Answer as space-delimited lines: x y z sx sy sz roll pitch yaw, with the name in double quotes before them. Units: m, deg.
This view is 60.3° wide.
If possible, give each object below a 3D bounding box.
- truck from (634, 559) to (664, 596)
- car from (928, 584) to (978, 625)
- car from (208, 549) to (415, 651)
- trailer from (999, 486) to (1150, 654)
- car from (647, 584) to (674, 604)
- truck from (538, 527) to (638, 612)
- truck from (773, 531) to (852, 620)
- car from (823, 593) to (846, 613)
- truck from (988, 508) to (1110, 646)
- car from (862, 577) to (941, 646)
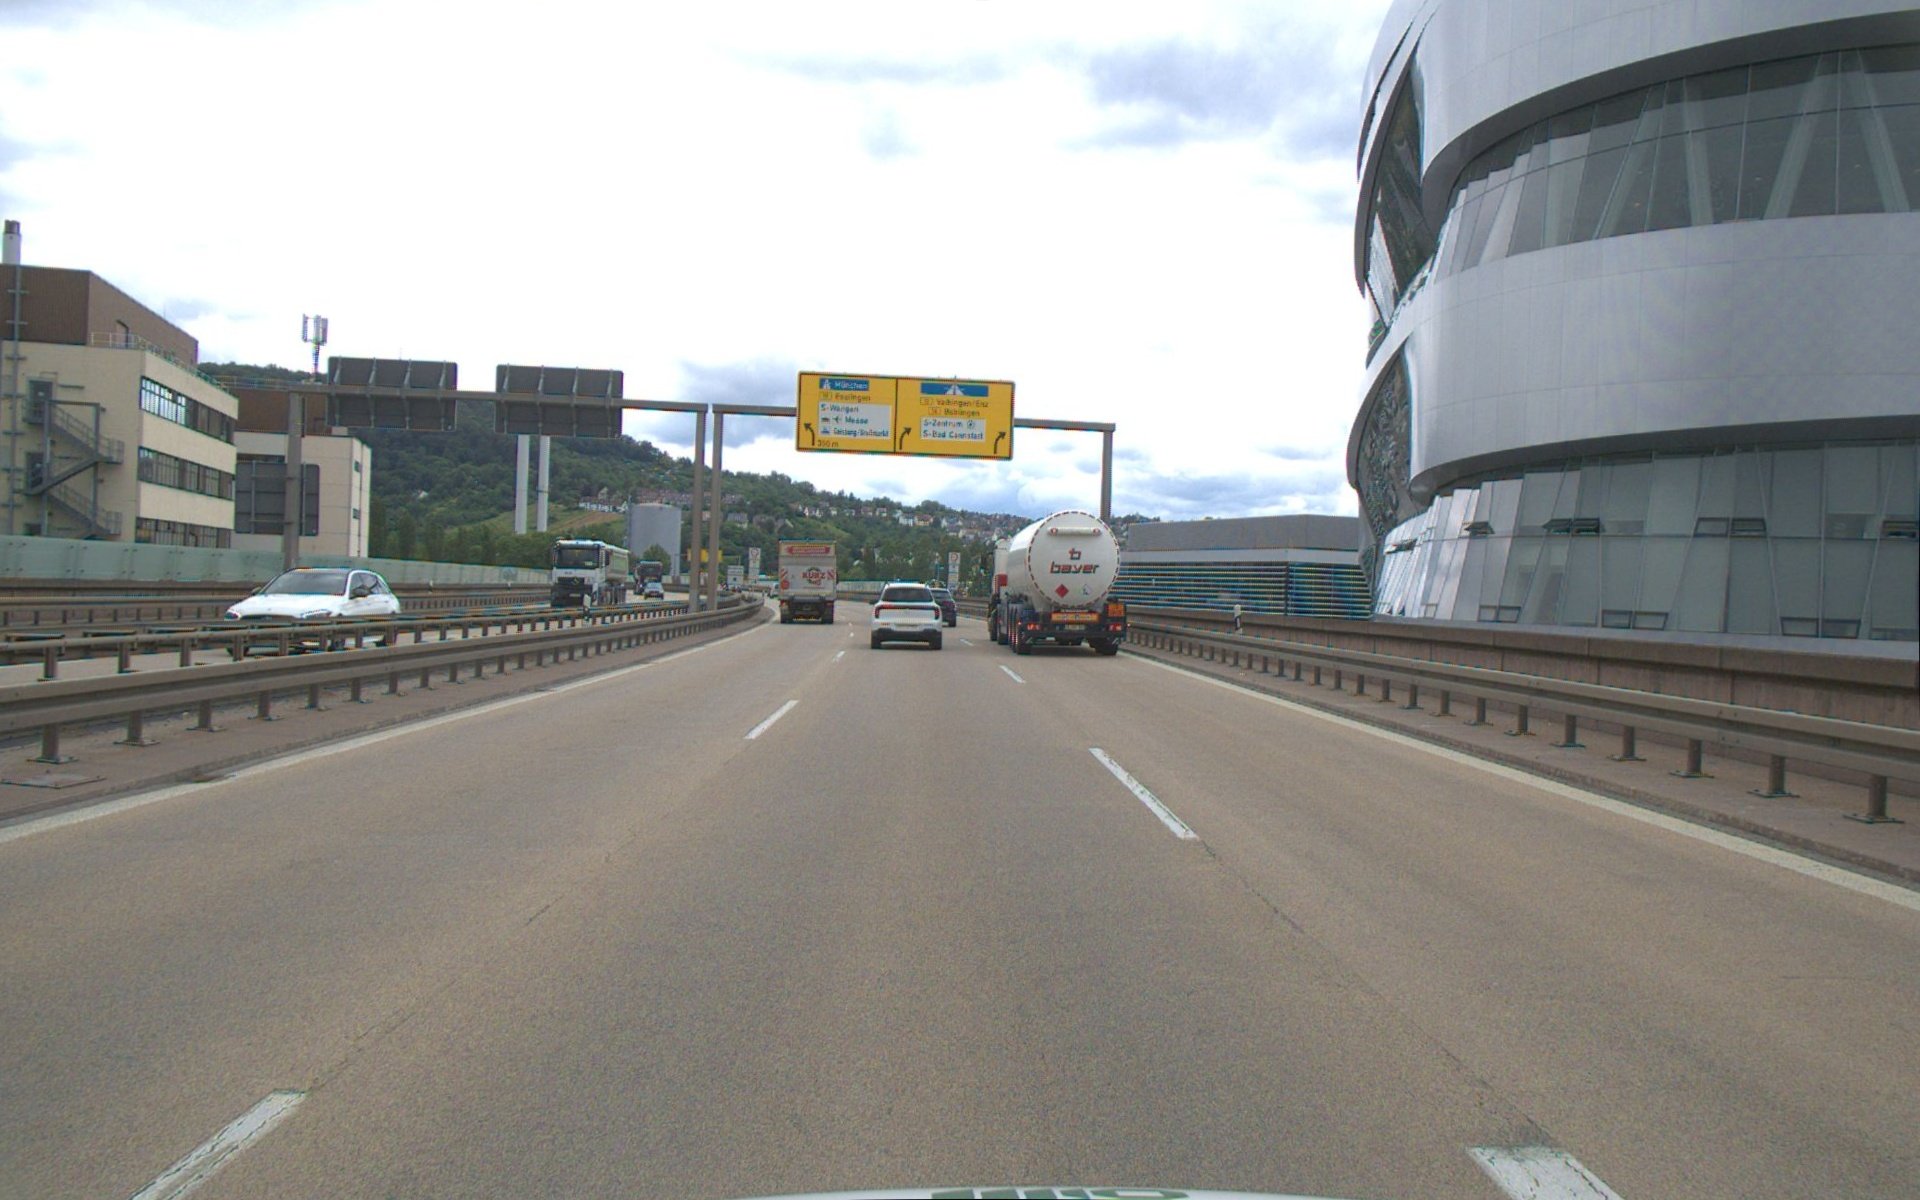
"truck" -34.696 -2.451 184.815 2.758 3.876 11.997 1 0 -8
"car" -0.352 0.201 72.279 1.954 1.704 4.405 1 0 -3
"car" -11.329 0.011 29.302 1.954 1.634 4.804 1 0 -3
"trailer" 2.750 -0.678 42.440 2.995 3.856 8.300 1 0 -2
"car" -25.816 -0.491 142.726 1.955 1.704 4.403 1 0 -5
"truck" -18.261 -1.390 82.116 2.997 3.842 12.507 1 0 -4
"truck" -6.608 -1.040 75.072 2.995 3.755 8.301 1 0 -2
"car" -11.012 0.279 145.411 1.648 1.679 4.359 2 0 0
"truck" 2.499 -0.619 48.303 2.954 3.721 6.270 1 0 -2
"car" -1.541 0.305 43.745 1.953 1.704 4.406 1 0 -2
